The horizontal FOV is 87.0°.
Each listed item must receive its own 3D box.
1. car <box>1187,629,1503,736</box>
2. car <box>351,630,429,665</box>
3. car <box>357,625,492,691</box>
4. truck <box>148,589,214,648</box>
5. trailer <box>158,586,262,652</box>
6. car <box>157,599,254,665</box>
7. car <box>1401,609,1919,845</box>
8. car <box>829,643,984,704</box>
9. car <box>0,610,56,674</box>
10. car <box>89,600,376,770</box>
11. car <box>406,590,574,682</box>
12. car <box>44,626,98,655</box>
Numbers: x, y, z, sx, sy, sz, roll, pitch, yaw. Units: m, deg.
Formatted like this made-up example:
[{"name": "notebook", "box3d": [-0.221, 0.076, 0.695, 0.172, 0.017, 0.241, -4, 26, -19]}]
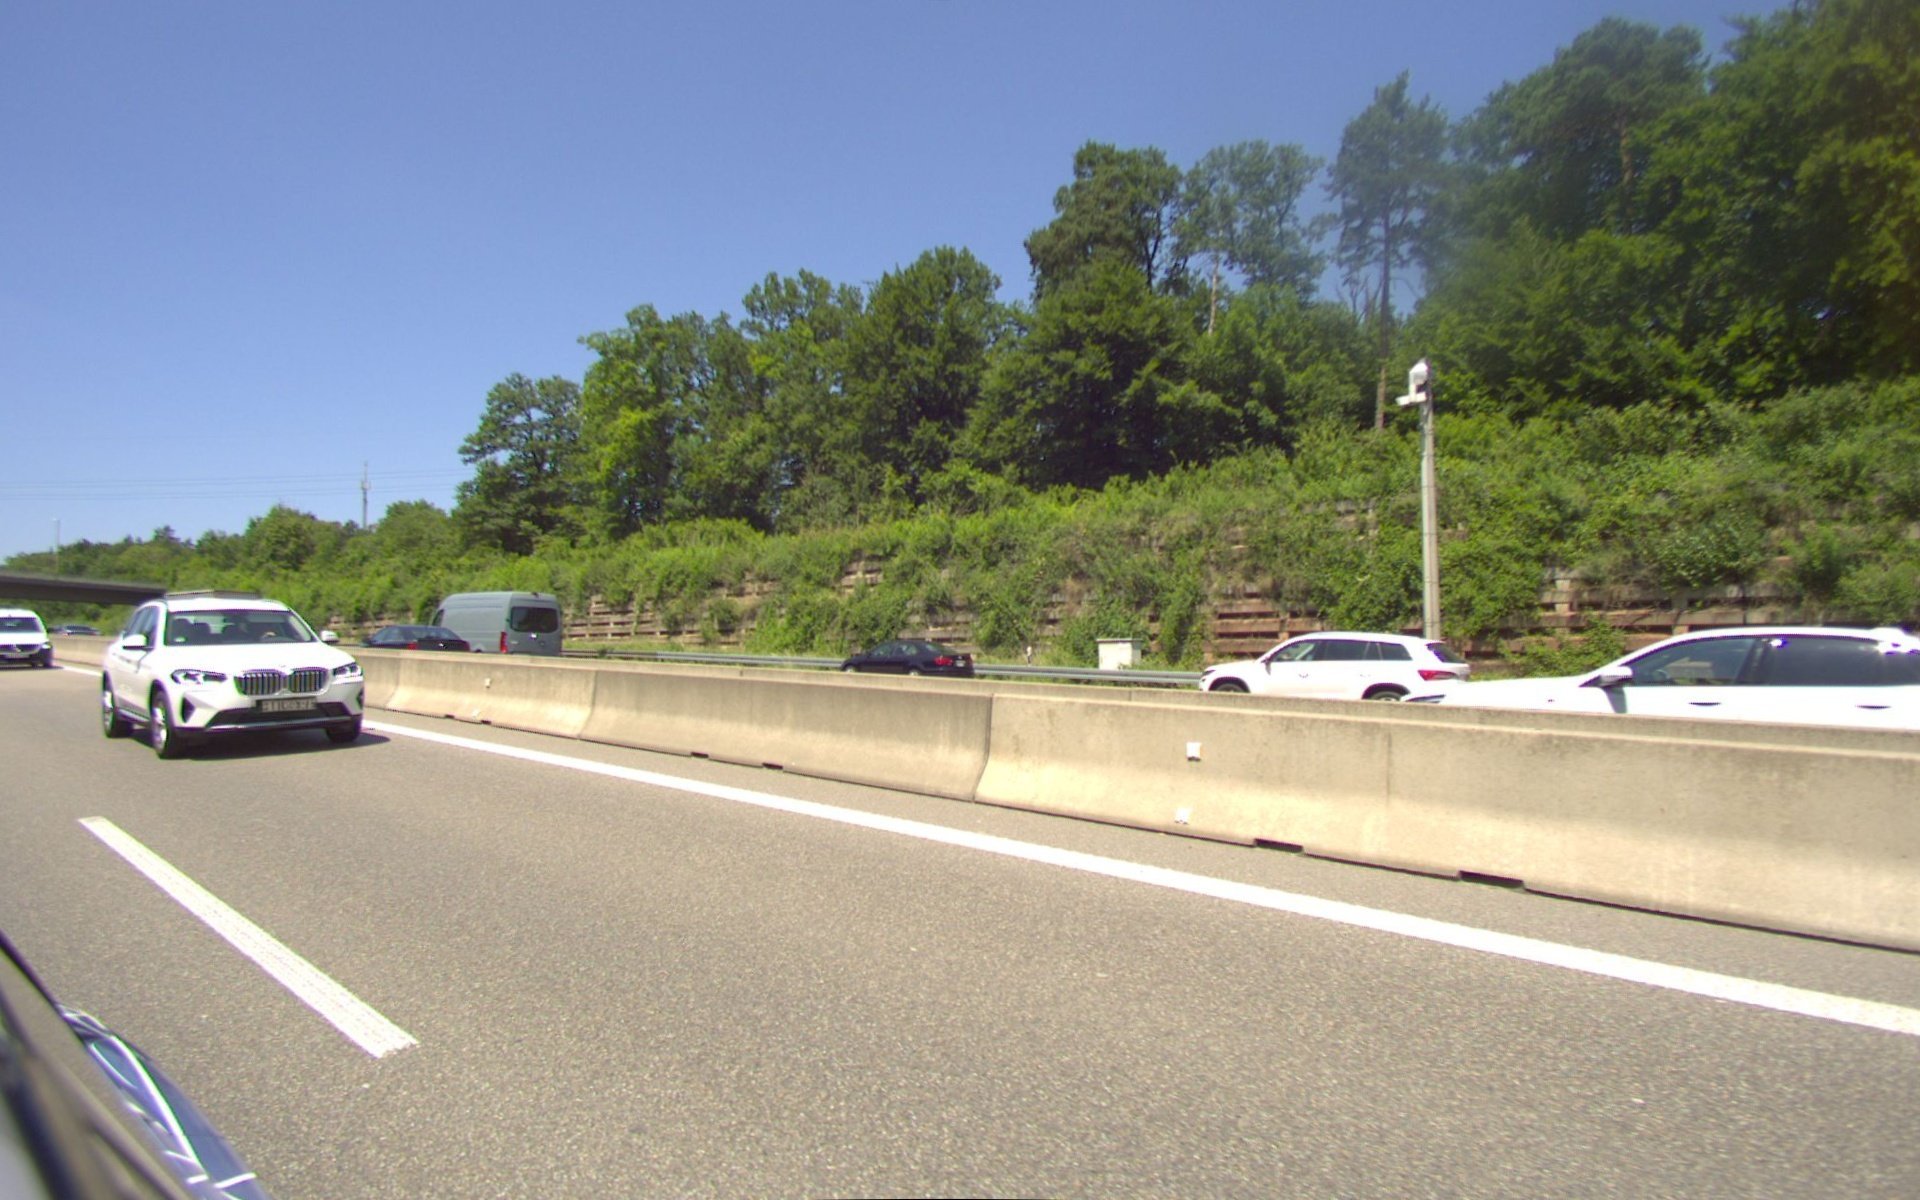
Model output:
[{"name": "car", "box3d": [6.643, 1.347, 17.823, 4.858, 1.617, 1.919, -1, -3, 41]}, {"name": "car", "box3d": [-26.984, 2.245, 47.881, 4.279, 1.550, 1.876, -1, -3, 41]}, {"name": "car", "box3d": [-14.290, 1.496, 26.913, 4.279, 1.617, 1.714, -1, -3, 41]}, {"name": "truck", "box3d": [-58.746, 1.370, 76.281, 5.946, 4.217, 2.904, -1, -1, 41]}, {"name": "trailer", "box3d": [-52.979, 1.296, 71.234, 14.177, 4.217, 2.904, -1, -1, 41]}, {"name": "car", "box3d": [-32.913, 1.419, 44.066, 5.338, 2.704, 2.216, -1, -3, 41]}, {"name": "car", "box3d": [6.602, 0.924, 8.224, 5.223, 1.617, 1.919, -1, -3, 41]}, {"name": "car", "box3d": [-1.625, 2.105, 29.762, 4.462, 1.617, 1.919, -1, -3, 41]}, {"name": "car", "box3d": [-29.021, 1.233, 30.702, 4.501, 1.788, 1.972, -1, 0, 43]}, {"name": "car", "box3d": [-8.732, 0.865, 12.010, 4.366, 1.656, 1.826, -1, -1, 41]}, {"name": "car", "box3d": [-15.484, 1.172, 33.079, 7.134, 2.704, 2.216, -1, -3, 41]}, {"name": "car", "box3d": [-55.488, 2.499, 63.152, 4.279, 1.713, 1.919, -1, -3, 41]}]
